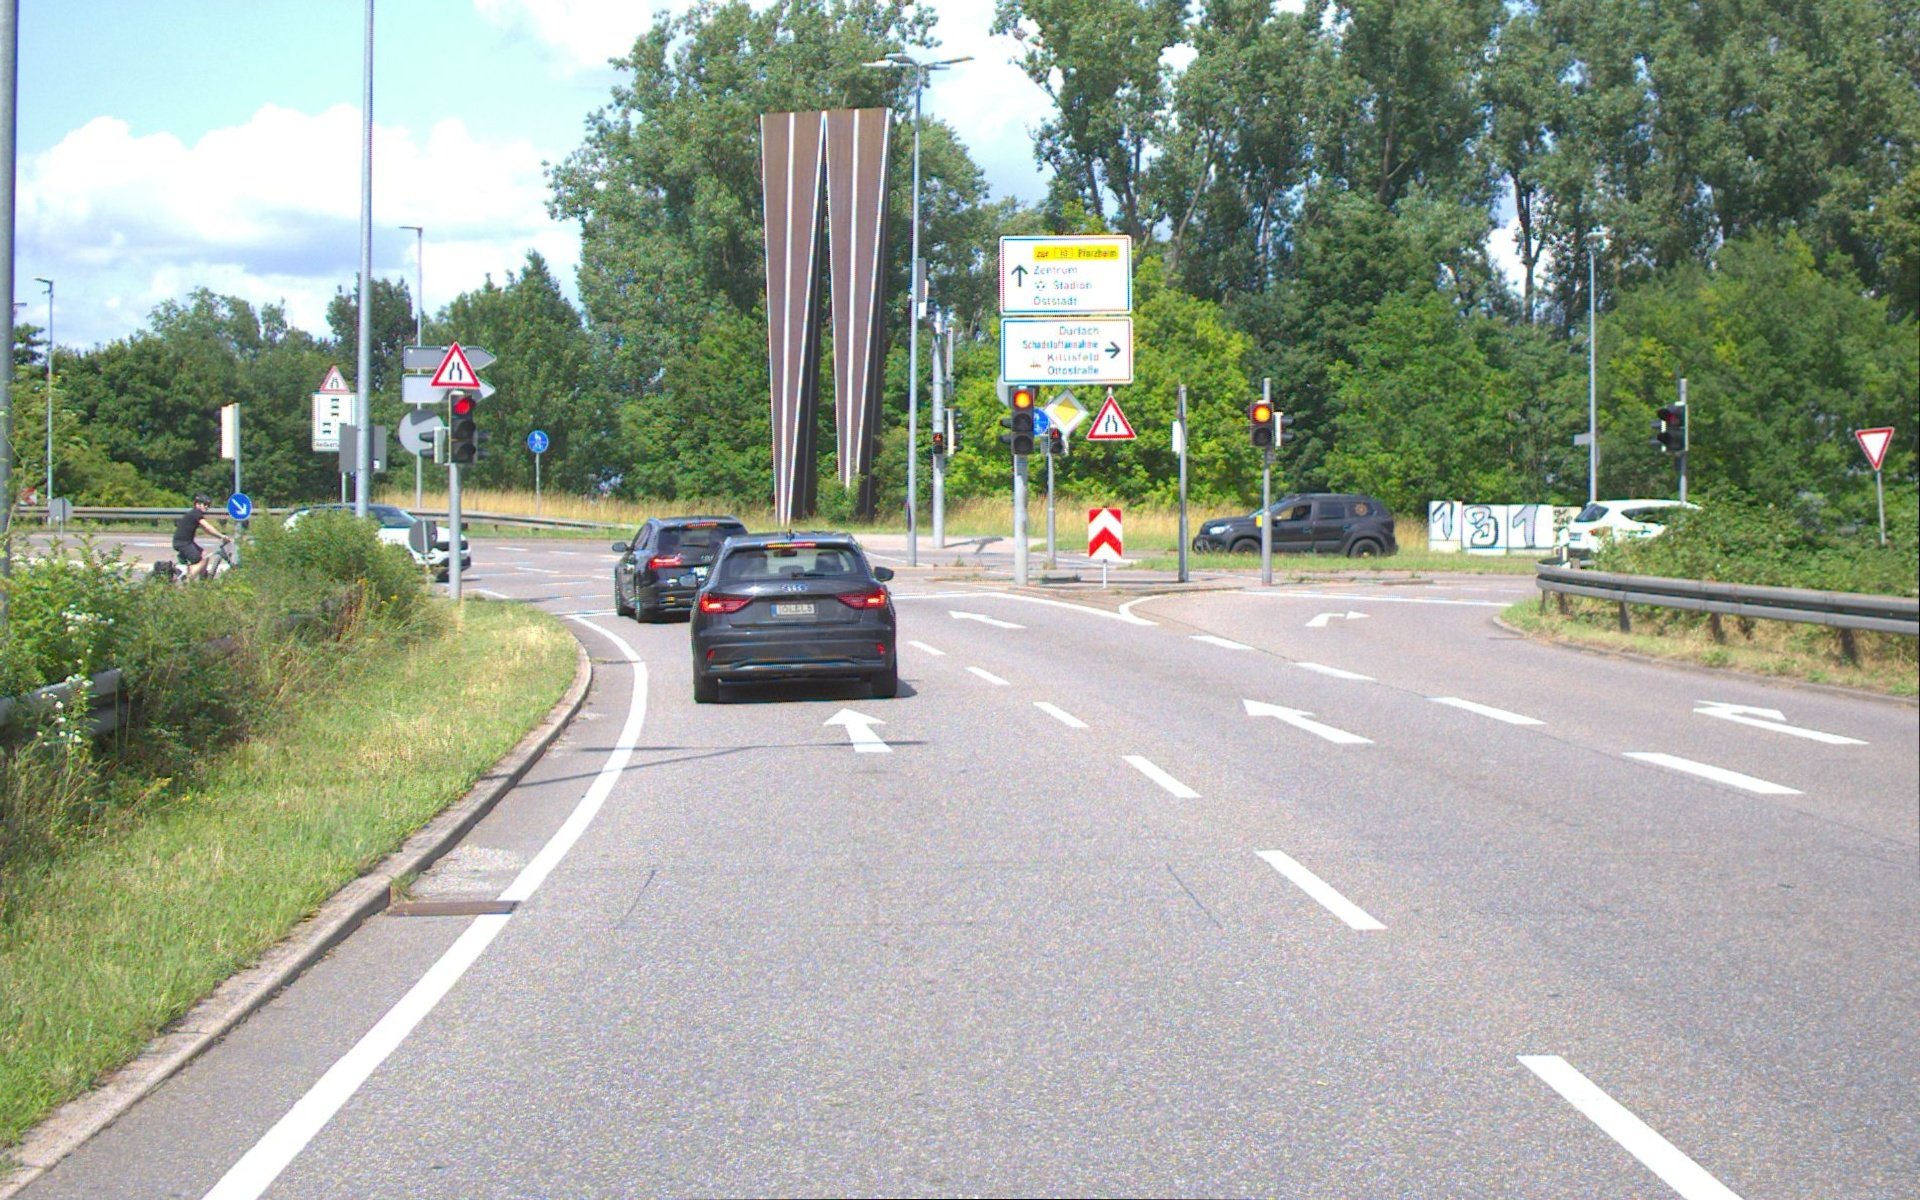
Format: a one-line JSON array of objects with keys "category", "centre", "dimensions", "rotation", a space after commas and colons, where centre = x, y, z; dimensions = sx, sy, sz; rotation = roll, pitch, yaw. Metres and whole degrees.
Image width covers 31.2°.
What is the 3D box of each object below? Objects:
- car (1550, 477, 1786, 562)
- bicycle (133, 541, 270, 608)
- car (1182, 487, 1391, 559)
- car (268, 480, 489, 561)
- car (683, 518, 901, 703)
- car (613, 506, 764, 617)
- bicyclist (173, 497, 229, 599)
[{"category": "car", "centre": [13.770, -1.550, 66.996], "dimensions": [4.023, 1.504, 1.957], "rotation": [2, 0, -9]}, {"category": "bicycle", "centre": [-11.726, -0.399, 53.199], "dimensions": [2.052, 1.020, 0.672], "rotation": [0, 1, -12]}, {"category": "car", "centre": [7.087, -1.688, 74.818], "dimensions": [4.267, 1.539, 1.737], "rotation": [-1, 2, -7]}, {"category": "car", "centre": [-11.488, -1.567, 67.885], "dimensions": [4.039, 1.471, 1.734], "rotation": [2, 1, 26]}, {"category": "car", "centre": [-1.517, 0.038, 30.147], "dimensions": [1.726, 1.399, 4.001], "rotation": [-2, 2, -4]}, {"category": "car", "centre": [-3.902, -0.581, 49.010], "dimensions": [1.726, 1.418, 3.846], "rotation": [-2, 2, -10]}, {"category": "bicyclist", "centre": [-11.738, -0.810, 53.187], "dimensions": [0.834, 1.555, 0.672], "rotation": [0, 1, -12]}]
